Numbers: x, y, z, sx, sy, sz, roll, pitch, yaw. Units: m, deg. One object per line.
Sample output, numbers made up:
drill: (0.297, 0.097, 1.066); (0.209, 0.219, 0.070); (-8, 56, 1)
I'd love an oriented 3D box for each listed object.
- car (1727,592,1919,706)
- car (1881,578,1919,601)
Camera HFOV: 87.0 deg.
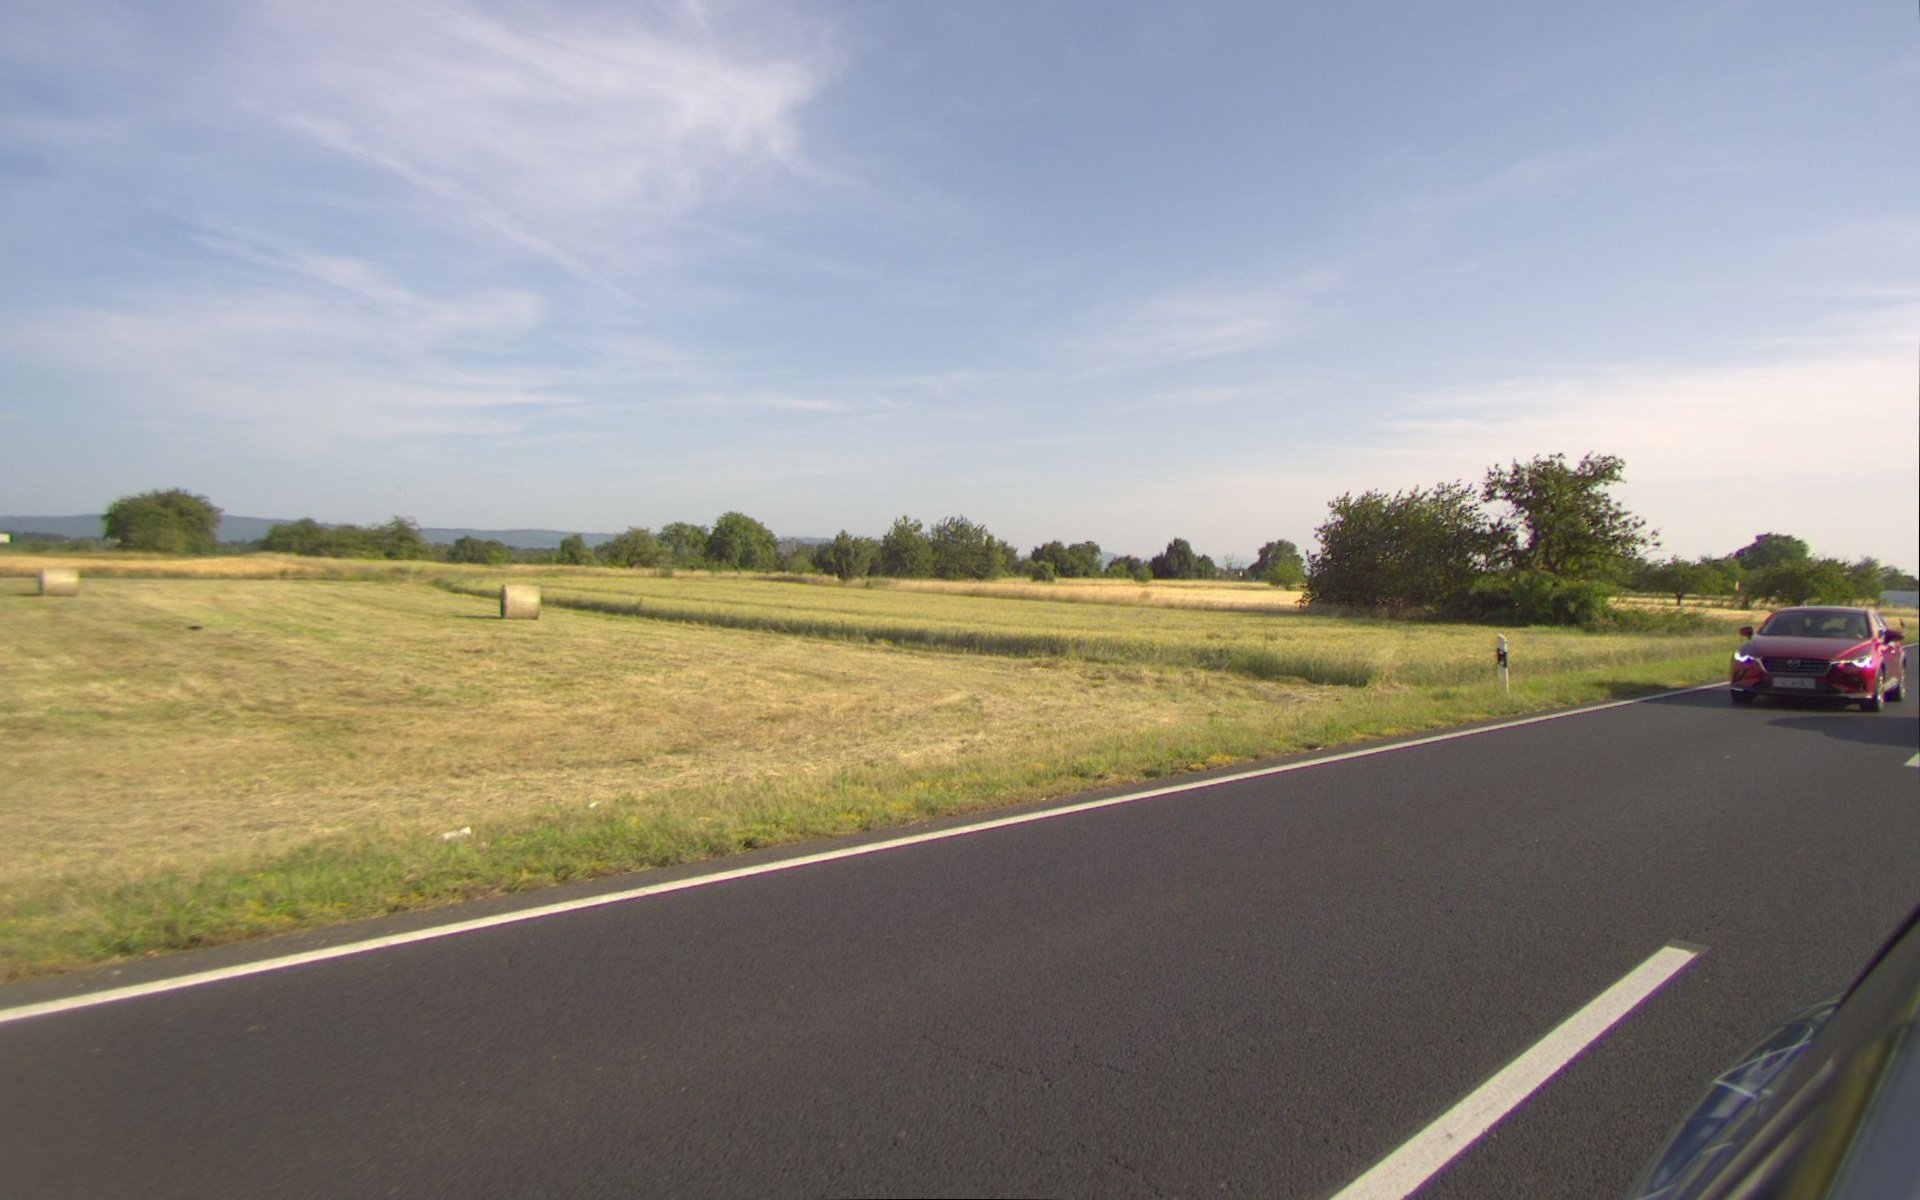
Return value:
car: (13.678, 0.650, 15.904); (4.422, 1.524, 1.707); (-1, 1, -41)
car: (118.980, -1.289, 125.095); (2.049, 2.702, 7.230); (-1, 2, -26)
